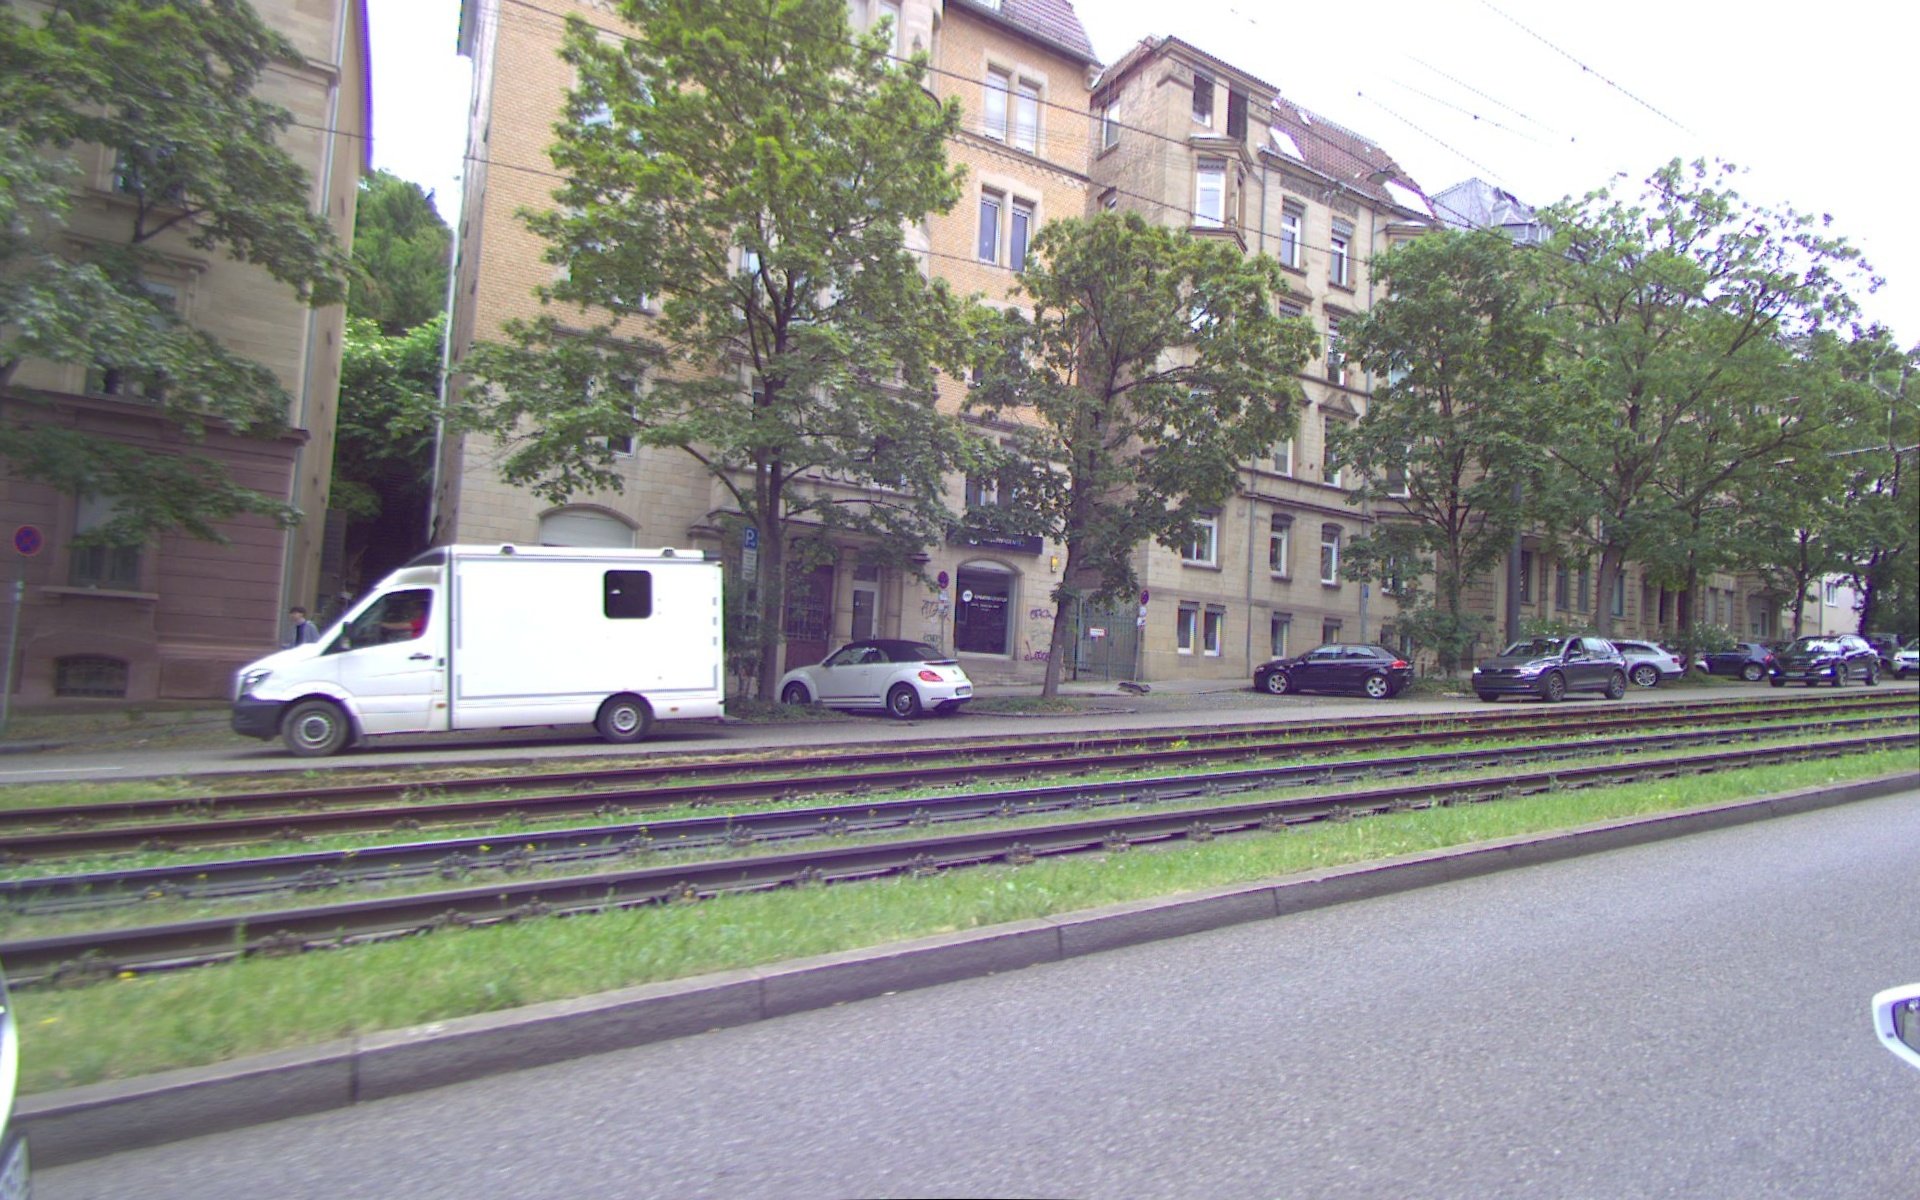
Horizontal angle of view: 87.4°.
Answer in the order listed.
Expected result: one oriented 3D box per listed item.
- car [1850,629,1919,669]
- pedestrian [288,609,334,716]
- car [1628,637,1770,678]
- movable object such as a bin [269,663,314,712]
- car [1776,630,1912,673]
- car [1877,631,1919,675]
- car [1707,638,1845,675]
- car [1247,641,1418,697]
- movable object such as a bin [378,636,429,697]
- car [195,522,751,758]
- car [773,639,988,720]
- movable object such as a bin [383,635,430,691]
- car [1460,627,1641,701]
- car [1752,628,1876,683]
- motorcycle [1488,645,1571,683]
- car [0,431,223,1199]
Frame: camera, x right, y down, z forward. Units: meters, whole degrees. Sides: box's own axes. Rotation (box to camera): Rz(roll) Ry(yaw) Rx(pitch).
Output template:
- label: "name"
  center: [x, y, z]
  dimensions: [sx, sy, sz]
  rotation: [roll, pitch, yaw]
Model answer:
- label: "car"
  center: [45.911, 2.355, 48.502]
  dimensions: [4.121, 1.860, 1.867]
  rotation: [-1, -3, 33]
- label: "pedestrian"
  center: [-11.512, 1.095, 17.833]
  dimensions: [0.624, 1.836, 0.772]
  rotation: [1, -2, -31]
- label: "car"
  center: [28.020, 2.201, 38.276]
  dimensions: [4.079, 1.488, 1.784]
  rotation: [-3, -4, 28]
- label: "movable object such as a bin"
  center: [-12.221, 1.595, 18.376]
  dimensions: [0.621, 0.847, 0.580]
  rotation: [1, -2, -30]
- label: "car"
  center: [38.635, 2.238, 44.046]
  dimensions: [4.117, 1.791, 1.868]
  rotation: [-1, -2, 30]
- label: "car"
  center: [37.537, 2.054, 38.901]
  dimensions: [4.295, 1.637, 1.772]
  rotation: [1, -4, -31]
- label: "car"
  center: [33.347, 2.299, 41.216]
  dimensions: [4.117, 1.454, 1.868]
  rotation: [-1, -3, 30]
- label: "car"
  center: [10.053, 1.824, 27.165]
  dimensions: [4.110, 1.382, 1.709]
  rotation: [-1, -2, 30]
- label: "movable object such as a bin"
  center: [-11.886, 1.400, 21.479]
  dimensions: [0.905, 1.264, 0.889]
  rotation: [1, -2, -27]
- label: "car"
  center: [-6.377, 0.583, 14.071]
  dimensions: [6.429, 2.734, 2.386]
  rotation: [1, -4, -25]
- label: "car"
  center: [-1.596, 1.506, 19.958]
  dimensions: [3.928, 1.441, 1.783]
  rotation: [-1, -2, 29]
- label: "movable object such as a bin"
  center: [-12.746, 1.438, 23.145]
  dimensions: [0.905, 1.264, 0.889]
  rotation: [1, -2, -27]
- label: "car"
  center: [14.425, 1.531, 24.508]
  dimensions: [4.418, 1.671, 1.872]
  rotation: [1, -4, -31]
- label: "car"
  center: [27.892, 1.802, 32.787]
  dimensions: [4.193, 1.678, 1.772]
  rotation: [1, -4, -31]
- label: "motorcycle"
  center: [17.611, 1.960, 31.112]
  dimensions: [2.164, 1.072, 0.625]
  rotation: [1, -1, 26]
- label: "car"
  center: [-3.257, 0.623, 0.348]
  dimensions: [4.616, 1.689, 1.827]
  rotation: [2, -1, -31]
